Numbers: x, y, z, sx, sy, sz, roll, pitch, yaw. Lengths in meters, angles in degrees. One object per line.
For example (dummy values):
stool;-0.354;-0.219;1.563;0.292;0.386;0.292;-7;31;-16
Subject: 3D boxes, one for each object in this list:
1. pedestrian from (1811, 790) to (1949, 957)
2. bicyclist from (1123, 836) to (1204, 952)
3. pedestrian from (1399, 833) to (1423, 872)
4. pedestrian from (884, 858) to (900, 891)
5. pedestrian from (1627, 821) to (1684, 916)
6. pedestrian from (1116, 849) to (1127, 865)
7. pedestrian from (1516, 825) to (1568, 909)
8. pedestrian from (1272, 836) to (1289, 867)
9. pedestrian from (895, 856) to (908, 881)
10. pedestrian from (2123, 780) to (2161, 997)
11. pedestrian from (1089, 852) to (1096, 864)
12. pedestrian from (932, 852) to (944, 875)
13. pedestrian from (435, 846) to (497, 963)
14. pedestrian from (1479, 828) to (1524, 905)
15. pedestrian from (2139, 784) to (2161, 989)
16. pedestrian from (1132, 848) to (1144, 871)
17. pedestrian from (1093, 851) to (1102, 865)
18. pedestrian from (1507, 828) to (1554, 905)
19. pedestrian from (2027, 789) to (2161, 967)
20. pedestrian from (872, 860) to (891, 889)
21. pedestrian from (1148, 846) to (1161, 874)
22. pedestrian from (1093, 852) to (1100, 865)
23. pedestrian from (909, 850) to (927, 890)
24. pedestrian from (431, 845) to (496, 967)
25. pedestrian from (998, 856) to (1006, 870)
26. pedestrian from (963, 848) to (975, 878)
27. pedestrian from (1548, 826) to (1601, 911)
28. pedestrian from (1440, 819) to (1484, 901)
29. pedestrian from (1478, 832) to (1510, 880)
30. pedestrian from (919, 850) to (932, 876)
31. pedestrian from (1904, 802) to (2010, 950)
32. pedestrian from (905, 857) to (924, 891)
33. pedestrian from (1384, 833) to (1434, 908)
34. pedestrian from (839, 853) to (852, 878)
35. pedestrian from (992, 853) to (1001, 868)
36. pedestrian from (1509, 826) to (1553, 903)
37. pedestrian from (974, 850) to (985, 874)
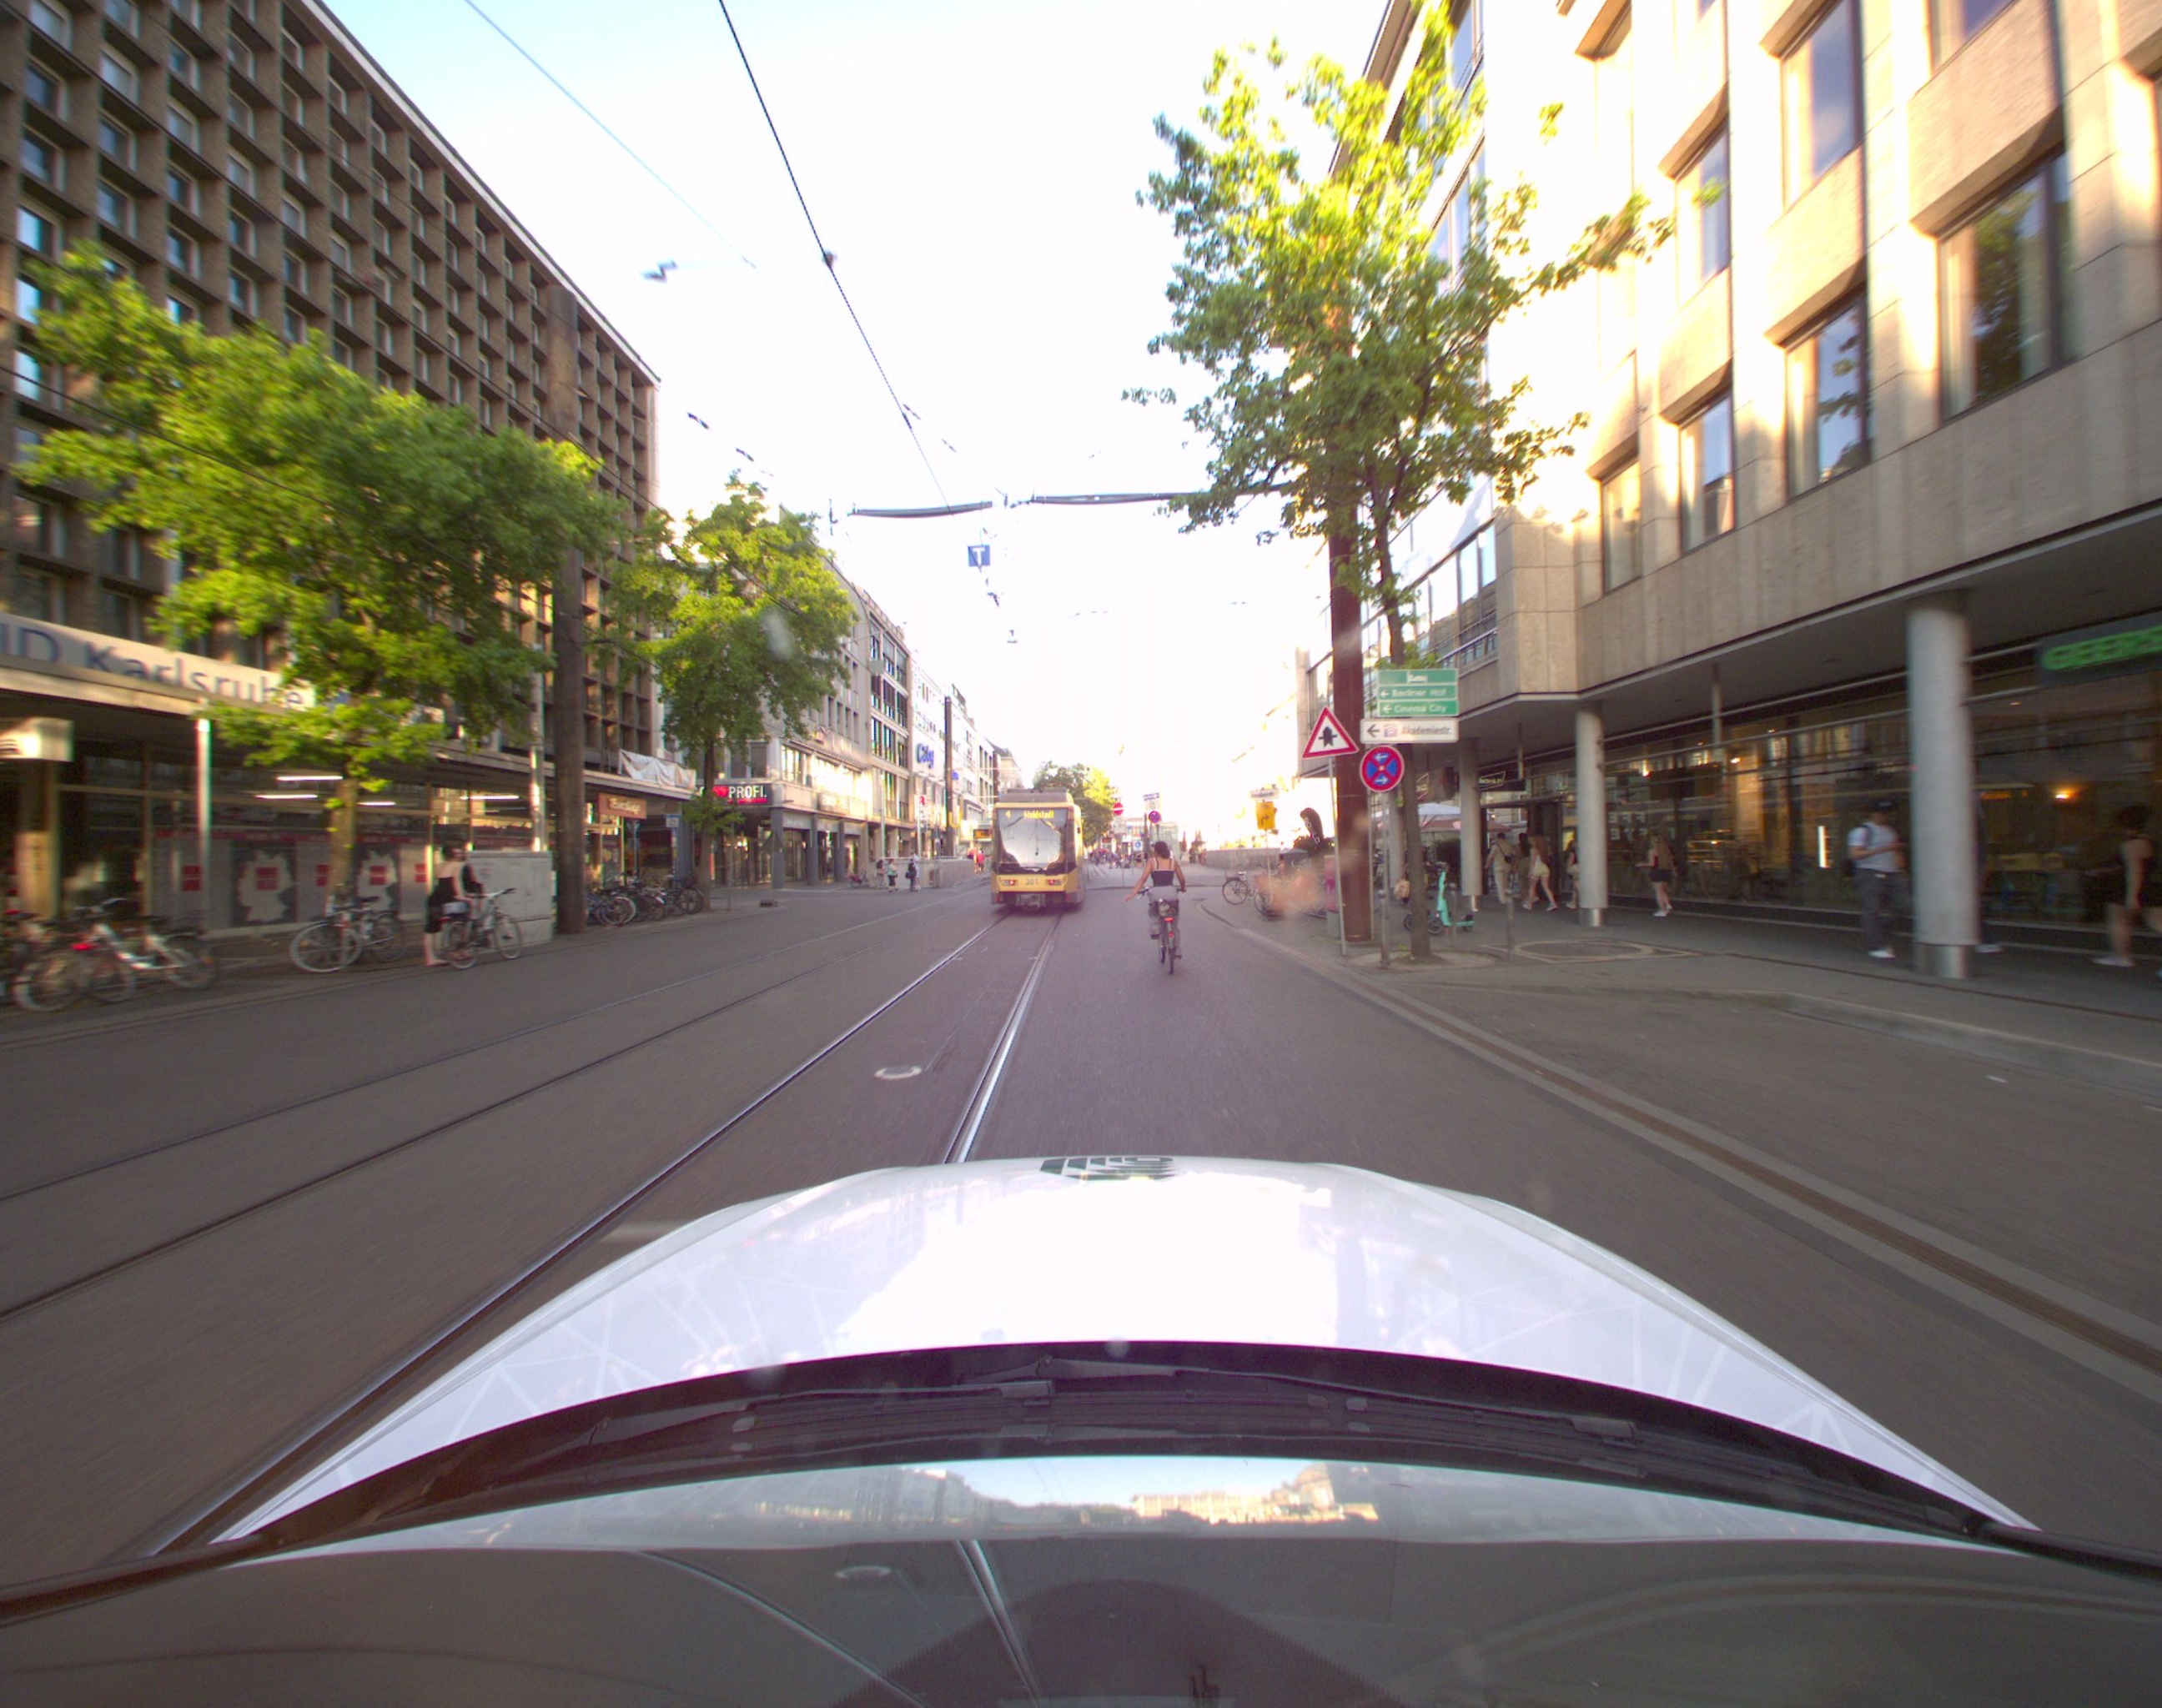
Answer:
pedestrian;9.294;0.222;9.511;0.666;1.839;0.880;-2;-1;0
bicyclist;1.090;0.516;10.944;0.994;1.502;0.857;0;0;-1
pedestrian;15.865;-0.067;39.177;0.805;1.823;0.807;-1;1;5
pedestrian;-8.706;0.961;37.537;0.603;1.494;0.554;-1;-1;-8
pedestrian;10.796;0.260;15.330;0.568;1.731;0.617;-2;0;-1
pedestrian;3.998;0.314;80.967;0.759;1.579;0.800;-1;0;30
pedestrian;10.055;0.282;17.773;0.660;1.787;0.719;-2;-1;1
pedestrian;13.143;-0.169;53.663;0.911;2.014;0.773;-1;-1;1
pedestrian;-12.388;1.011;56.148;0.711;1.725;0.709;-1;-1;-1
pedestrian;9.240;0.281;6.679;0.537;1.806;0.604;-2;0;-1
pedestrian;1.567;0.601;112.503;0.762;1.661;0.797;-1;0;9
pedestrian;-9.948;0.678;56.657;0.631;1.588;0.598;0;-2;-42
pedestrian;-9.228;0.735;12.223;0.595;1.699;0.539;0;0;29
pedestrian;10.067;0.294;19.510;0.660;1.787;0.719;-2;-1;1
pedestrian;9.803;0.278;7.009;0.537;1.806;0.604;-2;0;-1
pedestrian;4.581;0.444;65.277;0.734;1.823;0.816;-1;0;-14
pedestrian;1.894;0.466;93.100;0.761;1.661;0.797;-1;0;12
pedestrian;10.757;0.287;19.512;0.660;1.787;0.719;-2;-1;1
pedestrian;10.861;0.237;8.596;0.770;1.772;0.774;-2;-1;-1
pedestrian;-9.956;1.033;40.681;0.548;1.434;0.689;-2;-1;38
pedestrian;4.559;0.361;50.515;0.715;1.725;0.709;-1;-1;0
pedestrian;2.011;0.564;106.744;0.787;1.661;0.772;-1;0;12
pedestrian;-7.952;0.791;39.668;0.772;1.926;0.707;-1;-1;-8
pedestrian;-8.916;0.728;11.757;0.595;1.699;0.539;0;0;29
pedestrian;-7.946;0.884;81.853;0.705;1.379;0.720;-1;-1;-1
pedestrian;-7.334;0.597;53.509;0.712;1.925;0.708;-1;-1;-5
pedestrian;10.798;0.309;17.822;0.660;1.787;0.719;-2;-1;1
pedestrian;9.700;0.148;20.739;0.684;2.013;0.783;-2;0;1
pedestrian;16.163;0.076;31.865;0.801;1.839;0.874;0;0;0
pedestrian;-10.713;0.626;56.178;0.632;1.725;0.598;0;-2;-43
pedestrian;10.713;0.260;9.974;0.568;1.731;0.617;-2;0;-1
pedestrian;-7.668;0.935;37.568;0.681;1.542;0.606;-1;-1;3
pedestrian;7.736;0.383;19.221;0.760;1.719;0.924;-2;-1;2
pedestrian;-16.889;0.812;58.330;0.711;1.725;0.709;-1;-1;-1
pedestrian;-7.991;0.580;76.806;0.705;1.379;0.720;-1;-1;-1
pedestrian;11.110;0.250;20.111;0.659;1.848;0.720;-2;-1;6
pedestrian;-7.042;0.564;56.658;0.712;1.698;0.784;-1;-1;-6
